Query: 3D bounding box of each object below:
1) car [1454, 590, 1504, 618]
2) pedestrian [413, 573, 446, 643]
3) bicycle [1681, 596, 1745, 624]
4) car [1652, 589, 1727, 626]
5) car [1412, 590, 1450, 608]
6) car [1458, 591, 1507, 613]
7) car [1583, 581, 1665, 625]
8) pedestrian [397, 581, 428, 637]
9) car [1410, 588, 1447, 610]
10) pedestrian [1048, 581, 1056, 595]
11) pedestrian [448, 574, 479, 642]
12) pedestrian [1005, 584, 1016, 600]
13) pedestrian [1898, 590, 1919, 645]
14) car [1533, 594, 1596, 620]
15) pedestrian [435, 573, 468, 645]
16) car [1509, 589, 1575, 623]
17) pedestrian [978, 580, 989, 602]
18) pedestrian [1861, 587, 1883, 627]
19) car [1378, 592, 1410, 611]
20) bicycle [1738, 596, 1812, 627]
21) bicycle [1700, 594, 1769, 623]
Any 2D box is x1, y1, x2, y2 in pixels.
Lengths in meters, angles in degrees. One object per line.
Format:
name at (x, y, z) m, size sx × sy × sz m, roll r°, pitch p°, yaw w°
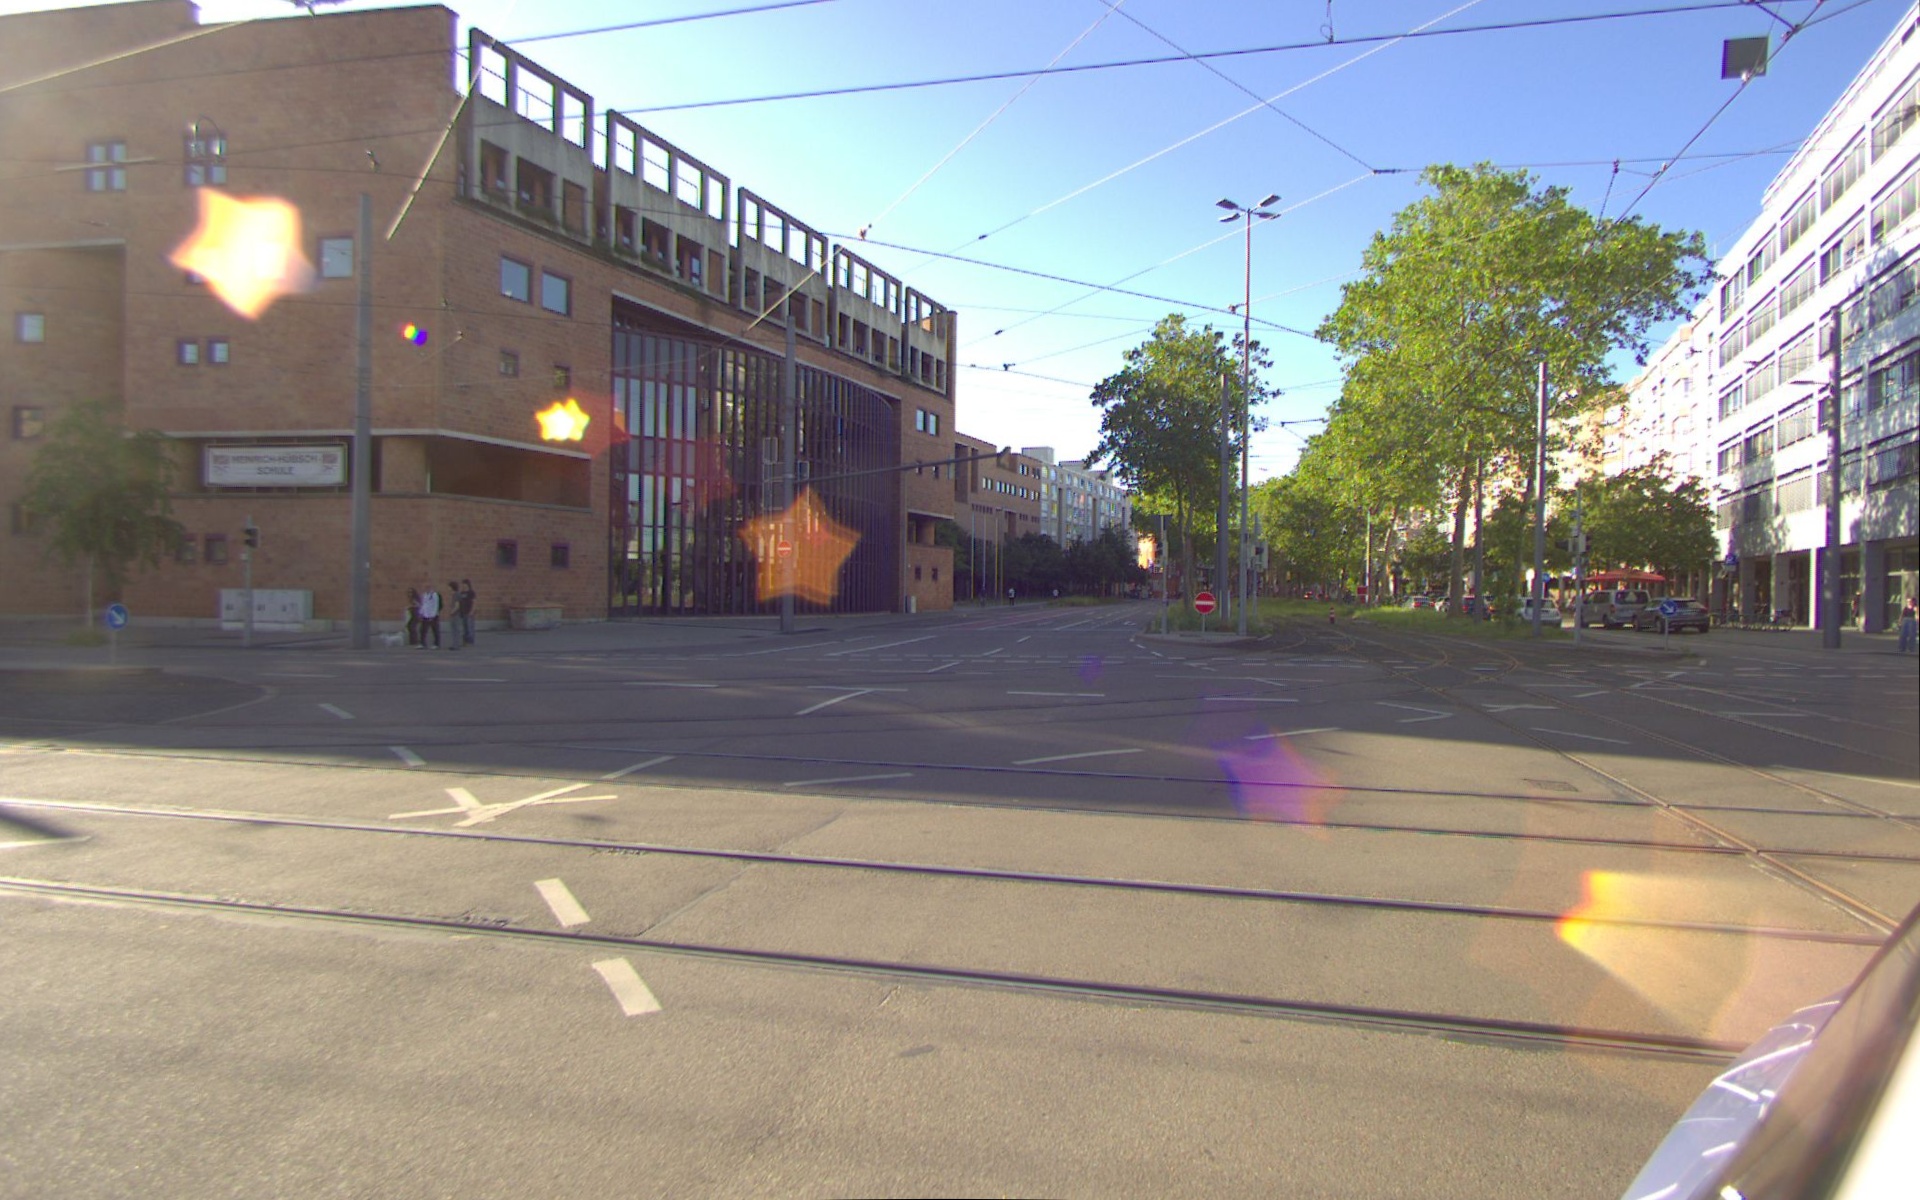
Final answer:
car at (29.866, 0.201, 58.335) m, size 1.842 × 1.493 × 3.956 m, roll 1°, pitch 1°, yaw 17°
pedestrian at (-13.856, 0.205, 26.436) m, size 0.539 × 1.808 × 0.573 m, roll 0°, pitch 1°, yaw 5°
bicycle at (36.009, 0.471, 48.429) m, size 2.353 × 1.229 × 0.774 m, roll 2°, pitch 0°, yaw 6°
car at (31.275, 0.289, 43.497) m, size 1.847 × 1.493 × 3.944 m, roll 1°, pitch 1°, yaw 25°
car at (41.465, -0.131, 89.177) m, size 1.836 × 1.493 × 3.969 m, roll 1°, pitch 1°, yaw 8°
car at (37.413, 0.125, 72.567) m, size 1.836 × 1.493 × 3.969 m, roll 1°, pitch 1°, yaw 8°
car at (32.151, 0.098, 49.153) m, size 1.839 × 2.041 × 4.441 m, roll 1°, pitch 1°, yaw 12°
pedestrian at (-15.092, 0.237, 27.887) m, size 0.562 × 1.495 × 0.550 m, roll 1°, pitch 1°, yaw -5°
car at (32.591, -0.066, 70.437) m, size 1.676 × 1.458 × 3.999 m, roll 0°, pitch 0°, yaw 16°
pedestrian at (9.684, -1.277, 106.473) m, size 0.801 × 1.401 × 0.684 m, roll 1°, pitch 1°, yaw 15°
pedestrian at (-13.448, 0.198, 27.398) m, size 0.539 × 1.808 × 0.573 m, roll 0°, pitch 1°, yaw 5°
pedestrian at (4.344, -0.710, 87.231) m, size 0.801 × 1.401 × 0.684 m, roll 1°, pitch 1°, yaw 15°
pedestrian at (29.310, 0.548, 30.915) m, size 0.653 × 1.661 × 0.788 m, roll 2°, pitch 0°, yaw 20°
car at (36.590, 0.383, 61.389) m, size 1.836 × 1.493 × 3.969 m, roll 1°, pitch 1°, yaw 8°
pedestrian at (-13.080, 0.222, 26.060) m, size 0.539 × 1.808 × 0.573 m, roll 0°, pitch 1°, yaw 5°
car at (26.195, 0.253, 45.652) m, size 1.643 × 1.406 × 3.520 m, roll 3°, pitch 1°, yaw 15°
pedestrian at (1.800, -0.698, 77.500) m, size 0.797 × 1.626 × 0.687 m, roll 1°, pitch 0°, yaw 1°
pedestrian at (40.096, 0.320, 44.487) m, size 0.582 × 1.756 × 0.784 m, roll 0°, pitch -1°, yaw 32°
car at (35.813, 0.099, 83.649) m, size 1.674 × 1.493 × 3.967 m, roll 1°, pitch 1°, yaw 12°
bicycle at (35.330, 0.487, 43.911) m, size 2.371 × 1.229 × 0.768 m, roll 2°, pitch 0°, yaw 27°
bicycle at (34.875, 0.366, 45.597) m, size 2.353 × 1.229 × 0.774 m, roll 2°, pitch 0°, yaw 6°
